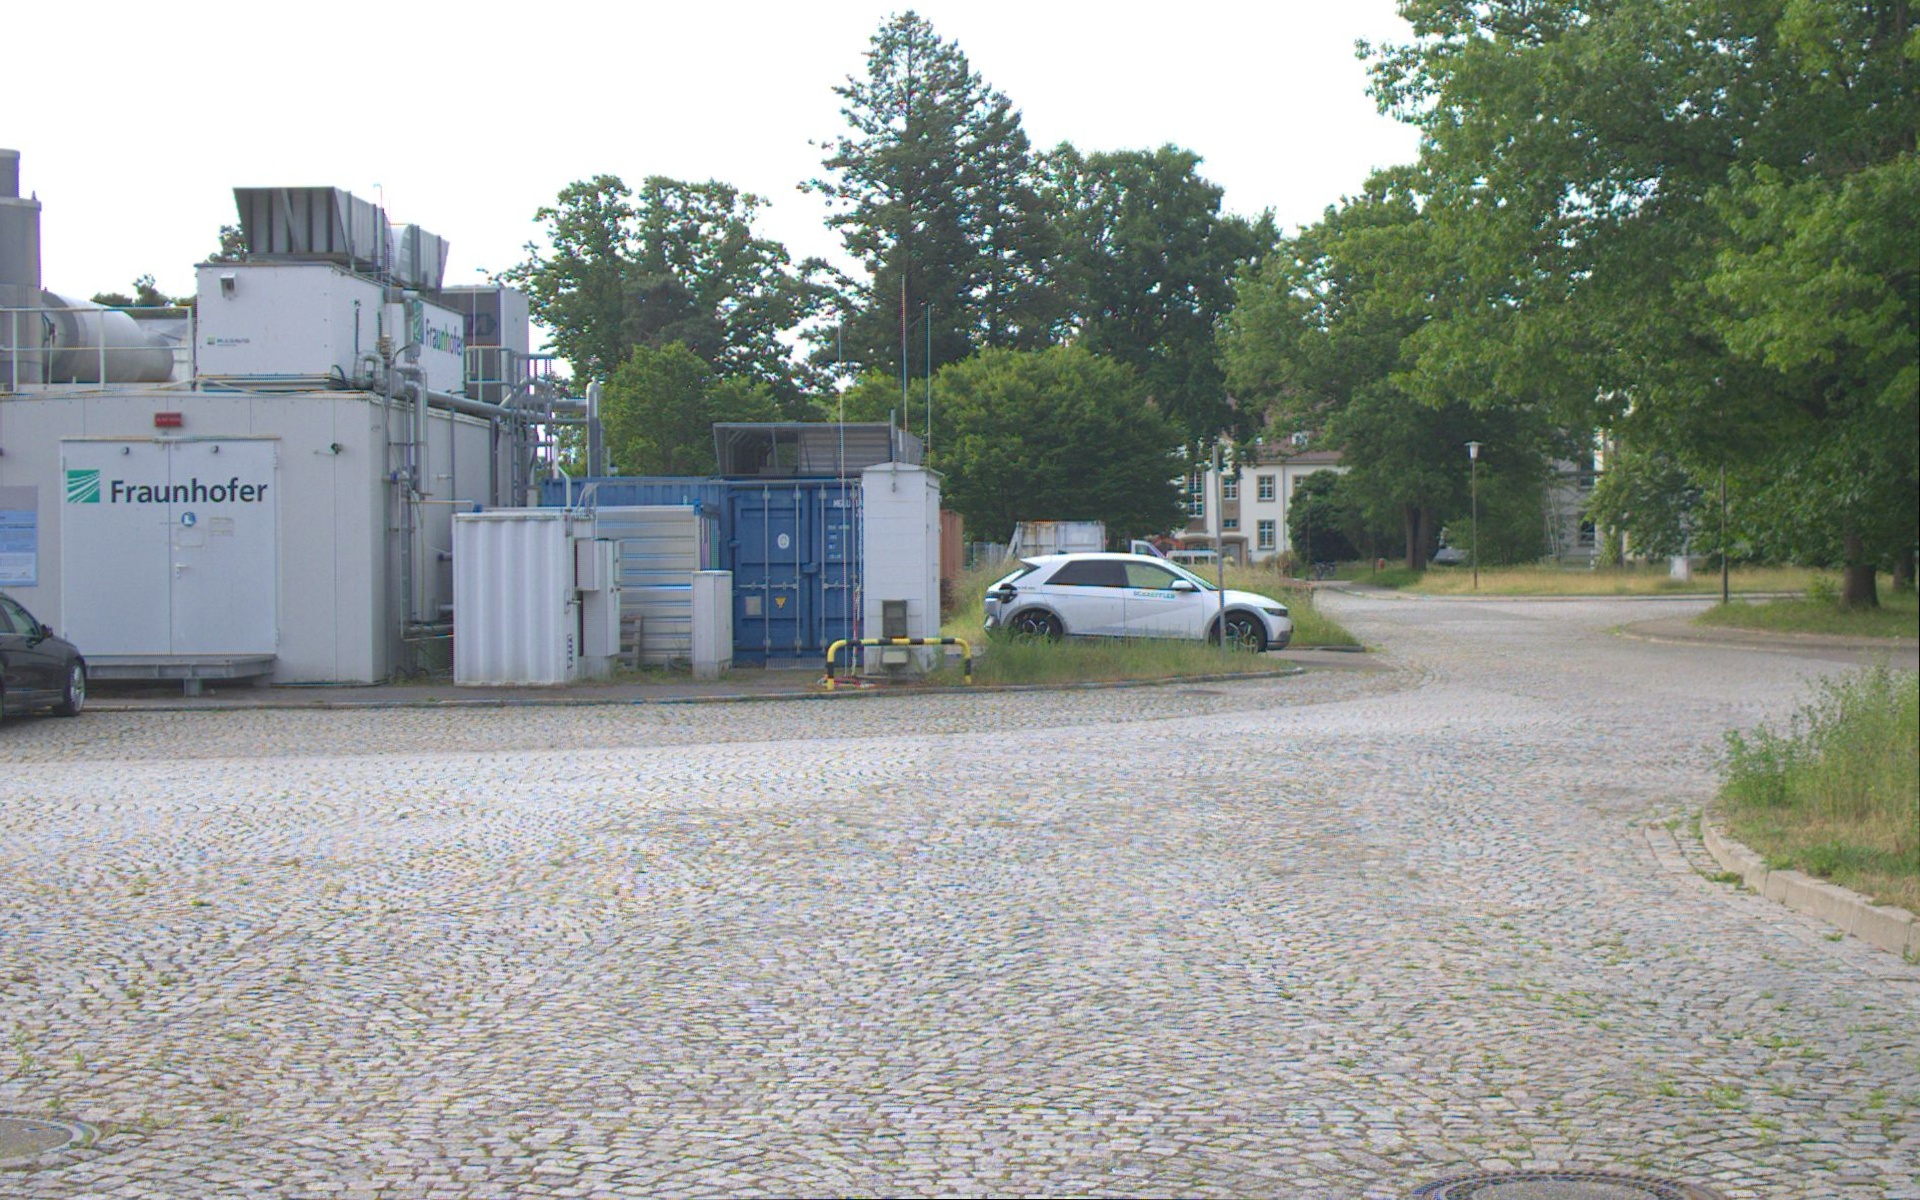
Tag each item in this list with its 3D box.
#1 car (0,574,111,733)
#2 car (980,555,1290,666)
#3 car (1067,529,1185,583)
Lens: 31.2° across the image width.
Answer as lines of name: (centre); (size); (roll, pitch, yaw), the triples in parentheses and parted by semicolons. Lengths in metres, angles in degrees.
car: (-10.379, 0.537, 35.211); (2.036, 1.448, 4.530); (-1, 2, 3)
car: (2.660, 0.150, 51.582); (4.535, 1.594, 2.000); (-1, 1, 5)
car: (7.385, -1.961, 153.043); (5.171, 2.329, 2.000); (-1, 1, 3)
